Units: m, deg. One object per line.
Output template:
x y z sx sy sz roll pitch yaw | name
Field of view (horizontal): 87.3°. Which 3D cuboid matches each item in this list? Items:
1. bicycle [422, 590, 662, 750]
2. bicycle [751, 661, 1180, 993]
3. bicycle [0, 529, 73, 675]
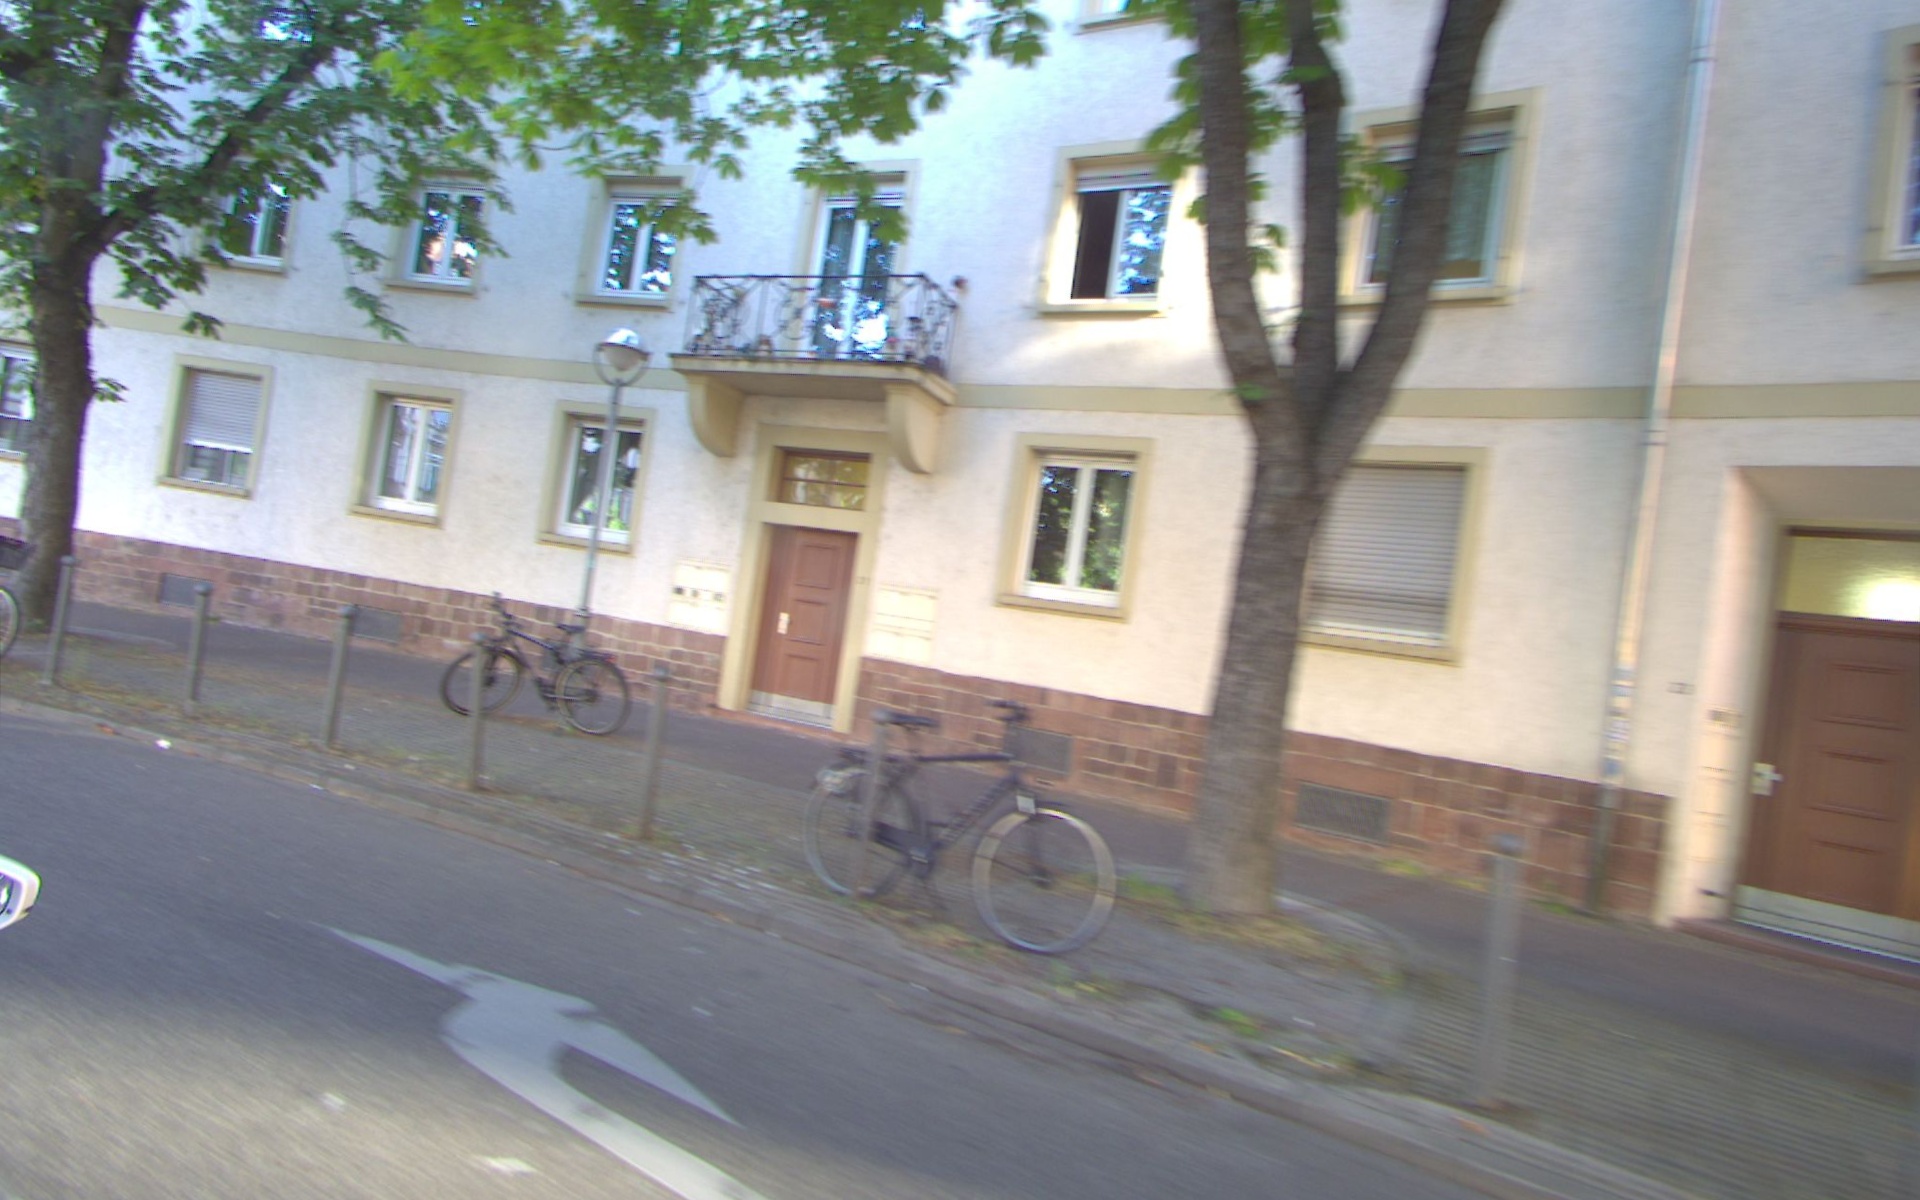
-3.764 0.615 9.163 1.788 1.197 0.673 7 1 -1 | bicycle
-0.007 1.045 5.132 1.966 1.172 0.681 7 -1 28 | bicycle
-8.661 -0.096 8.450 1.954 1.127 0.618 9 2 8 | bicycle
